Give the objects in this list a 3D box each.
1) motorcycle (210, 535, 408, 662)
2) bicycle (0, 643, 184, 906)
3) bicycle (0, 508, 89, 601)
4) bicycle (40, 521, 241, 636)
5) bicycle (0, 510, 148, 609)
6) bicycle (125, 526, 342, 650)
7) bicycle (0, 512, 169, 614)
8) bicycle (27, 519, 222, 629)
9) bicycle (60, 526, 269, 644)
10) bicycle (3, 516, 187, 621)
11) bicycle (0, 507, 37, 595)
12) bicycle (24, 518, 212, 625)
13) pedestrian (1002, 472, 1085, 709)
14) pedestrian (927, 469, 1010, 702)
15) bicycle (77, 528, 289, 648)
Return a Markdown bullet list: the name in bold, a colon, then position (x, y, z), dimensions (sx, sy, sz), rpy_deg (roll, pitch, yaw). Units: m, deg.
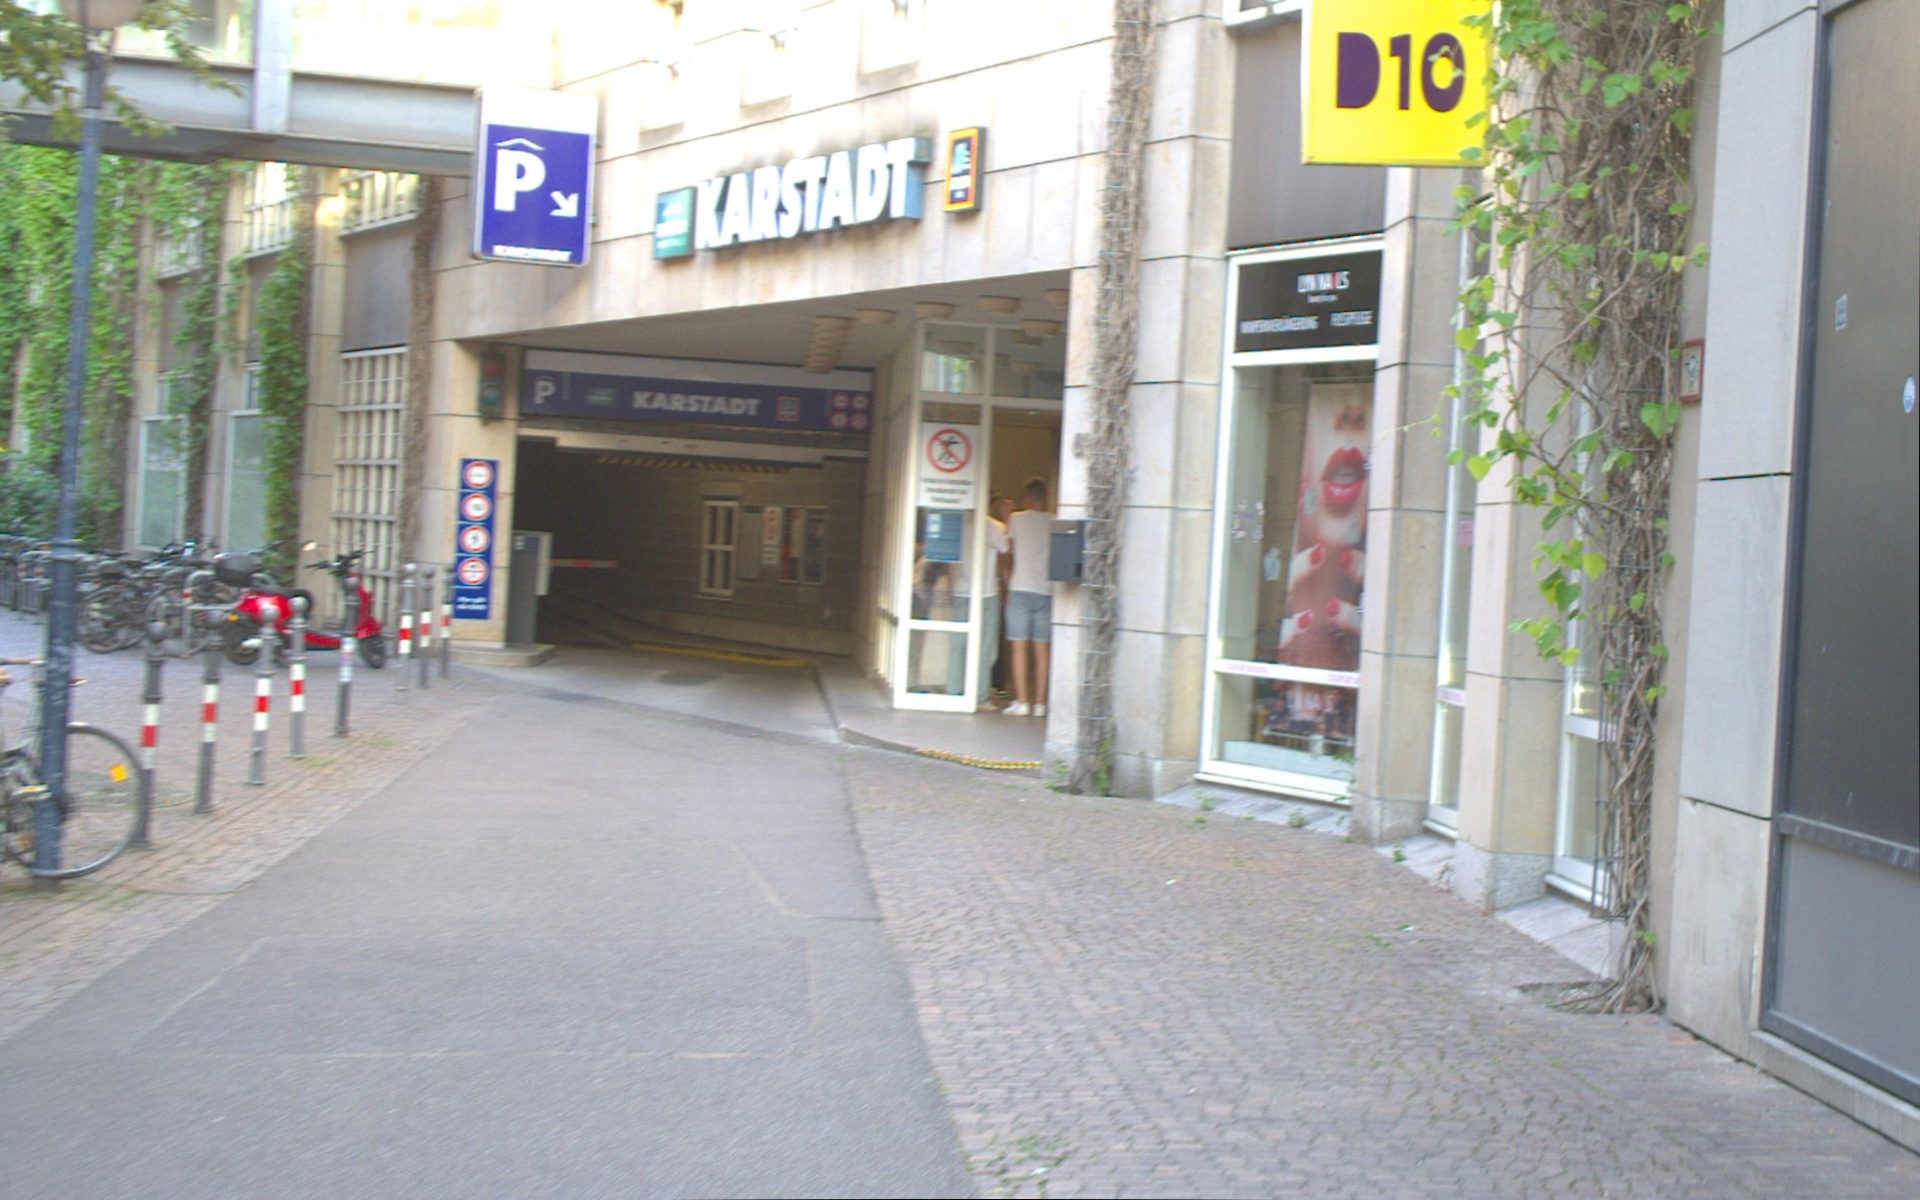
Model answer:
- **motorcycle**: position (-6.166, -0.013, 32.572), dimensions (1.745, 1.151, 0.595), rpy_deg (1, 2, -20)
- **bicycle**: position (-3.807, 0.689, 14.130), dimensions (0.505, 0.963, 1.694), rpy_deg (3, 1, 12)
- **bicycle**: position (-12.423, -0.600, 44.769), dimensions (1.993, 1.178, 0.694), rpy_deg (1, 2, -22)
- **bicycle**: position (-8.818, -0.231, 36.991), dimensions (1.993, 1.178, 0.803), rpy_deg (1, 2, -22)
- **bicycle**: position (-11.120, -0.502, 42.514), dimensions (1.993, 1.178, 0.694), rpy_deg (1, 2, -22)
- **bicycle**: position (-7.224, -0.121, 34.194), dimensions (1.993, 1.178, 0.696), rpy_deg (1, 2, -22)
- **bicycle**: position (-10.615, -0.445, 41.465), dimensions (1.993, 1.178, 0.694), rpy_deg (1, 2, -22)
- **bicycle**: position (-9.336, -0.293, 38.420), dimensions (1.993, 1.178, 0.803), rpy_deg (1, 2, -22)
- **bicycle**: position (-8.303, -0.160, 35.883), dimensions (1.993, 1.178, 0.803), rpy_deg (1, 2, -22)
- **bicycle**: position (-10.125, -0.370, 40.253), dimensions (1.993, 1.178, 0.694), rpy_deg (1, 2, -22)
- **bicycle**: position (-13.584, -0.682, 46.570), dimensions (1.993, 1.178, 0.694), rpy_deg (1, 2, -22)
- **bicycle**: position (-9.650, -0.326, 39.393), dimensions (1.993, 1.178, 0.694), rpy_deg (1, 2, -22)
- **pedestrian**: position (0.671, -0.080, 27.473), dimensions (0.542, 1.855, 0.408), rpy_deg (3, 2, 3)
- **pedestrian**: position (0.071, -0.122, 27.679), dimensions (0.542, 1.840, 0.408), rpy_deg (3, 2, 3)
- **bicycle**: position (-7.915, -0.123, 35.020), dimensions (1.993, 1.178, 0.696), rpy_deg (1, 2, -22)
